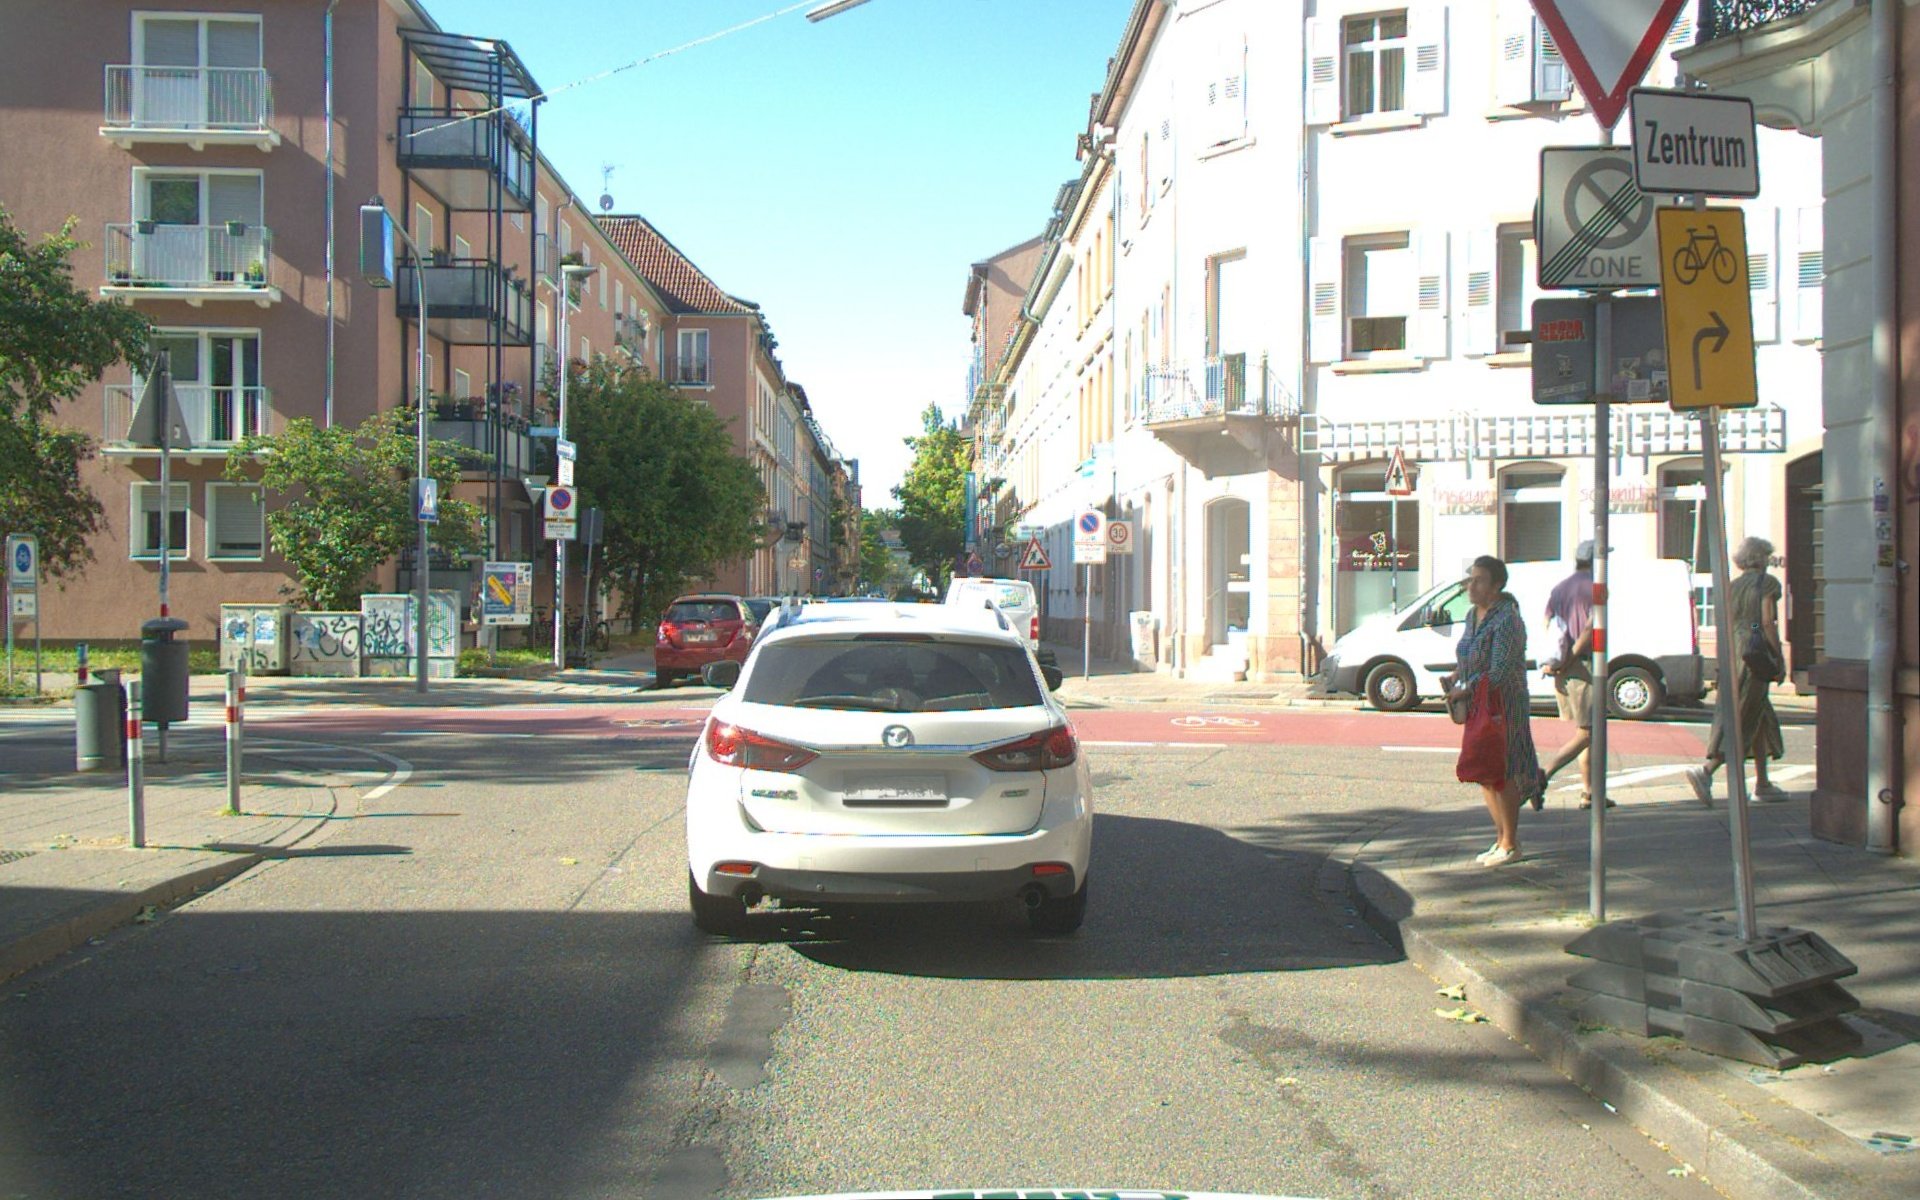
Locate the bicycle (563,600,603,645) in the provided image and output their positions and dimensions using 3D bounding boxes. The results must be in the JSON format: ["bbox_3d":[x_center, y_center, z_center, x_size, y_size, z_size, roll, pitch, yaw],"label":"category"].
[{"bbox_3d":[-9.281,0.544,40.722,1.196,1.090,0.252,0,0,38],"label":"bicycle"}]

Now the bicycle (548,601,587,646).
[{"bbox_3d":[-9.635,0.563,40.581,1.193,1.090,0.252,0,0,38],"label":"bicycle"}]

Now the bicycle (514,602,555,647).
[{"bbox_3d":[-10.236,0.584,39.795,1.193,1.053,0.290,0,0,38],"label":"bicycle"}]

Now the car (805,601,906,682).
[{"bbox_3d":[-1.938,0.739,31.719,1.725,1.434,4.327,0,0,-1],"label":"car"}]

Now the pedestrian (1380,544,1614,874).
[{"bbox_3d":[2.835,0.555,8.825,0.827,1.600,0.846,-5,-1,-1],"label":"pedestrian"}]

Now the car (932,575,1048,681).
[{"bbox_3d":[0.514,0.507,33.079,1.857,1.891,5.010,2,0,-4],"label":"car"}]

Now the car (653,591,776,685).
[{"bbox_3d":[-4.284,0.629,29.336,1.650,1.526,3.806,-1,0,-1],"label":"car"}]

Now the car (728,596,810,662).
[{"bbox_3d":[-4.625,0.676,40.503,1.620,1.526,3.762,0,0,-1],"label":"car"}]

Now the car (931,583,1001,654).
[{"bbox_3d":[0.122,0.481,46.108,1.856,1.892,3.994,0,0,-1],"label":"car"}]

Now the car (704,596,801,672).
[{"bbox_3d":[-4.388,0.682,35.407,1.620,1.526,4.079,0,0,-1],"label":"car"}]

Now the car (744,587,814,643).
[{"bbox_3d":[-5.120,0.422,47.157,1.620,1.526,3.762,0,0,-1],"label":"car"}]

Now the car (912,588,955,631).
[{"bbox_3d":[-1.175,0.417,74.217,1.856,1.892,3.994,0,0,-1],"label":"car"}]

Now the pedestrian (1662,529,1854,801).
[{"bbox_3d":[5.284,0.436,10.996,0.819,1.696,0.626,-4,-4,-1],"label":"pedestrian"}]

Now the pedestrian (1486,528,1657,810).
[{"bbox_3d":[4.115,0.457,11.184,0.734,1.795,0.830,-3,-2,-2],"label":"pedestrian"}]

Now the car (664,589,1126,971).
[{"bbox_3d":[-0.285,0.698,8.427,1.794,1.482,3.961,0,0,-1],"label":"car"}]

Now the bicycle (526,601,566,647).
[{"bbox_3d":[-10.040,0.566,40.063,1.193,1.091,0.265,0,0,38],"label":"bicycle"}]

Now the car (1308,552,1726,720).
[{"bbox_3d":[7.152,0.418,21.432,4.906,1.980,2.051,0,0,21],"label":"car"}]

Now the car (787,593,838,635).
[{"bbox_3d":[-5.490,0.518,61.824,1.620,1.526,3.762,0,0,-1],"label":"car"}]

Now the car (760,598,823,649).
[{"bbox_3d":[-5.183,0.690,51.228,1.620,1.526,3.762,0,0,-1],"label":"car"}]

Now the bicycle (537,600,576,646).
[{"bbox_3d":[-9.841,0.556,40.336,1.193,1.089,0.252,0,0,38],"label":"bicycle"}]

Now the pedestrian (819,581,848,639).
[{"bbox_3d":[-3.633,0.275,47.549,0.720,1.642,0.813,0,0,-14],"label":"pedestrian"}]
